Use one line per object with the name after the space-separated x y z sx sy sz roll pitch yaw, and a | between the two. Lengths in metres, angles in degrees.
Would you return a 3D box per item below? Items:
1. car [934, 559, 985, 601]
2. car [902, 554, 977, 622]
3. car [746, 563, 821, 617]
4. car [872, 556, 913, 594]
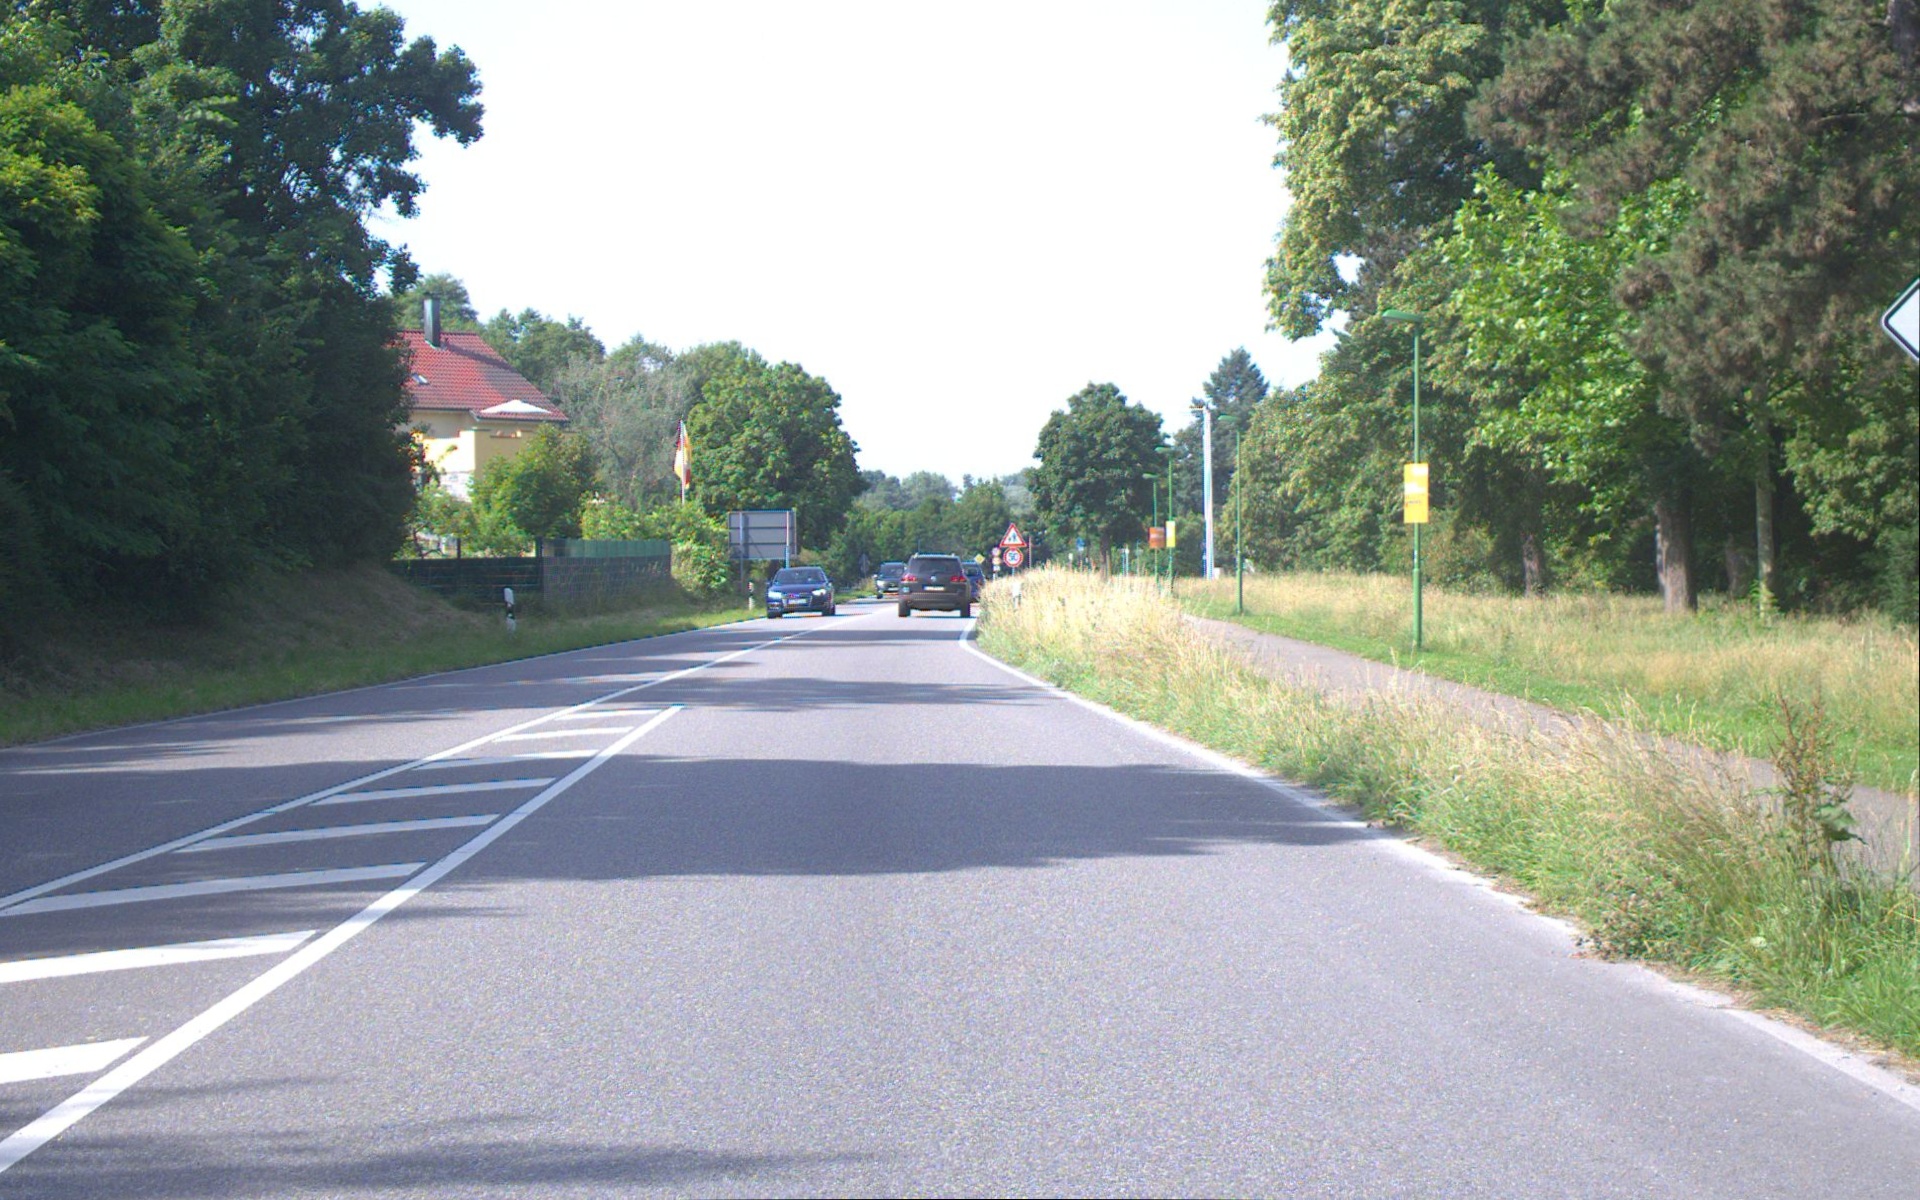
-0.029 -0.754 128.120 1.735 1.511 3.915 -1 1 -3 | car
-0.578 -0.345 92.646 1.925 1.765 4.000 -1 1 -2 | car
-5.050 -0.297 98.952 1.870 1.418 4.577 -3 1 0 | car
-3.465 -1.284 175.729 1.939 1.811 4.242 -2 0 -2 | car
